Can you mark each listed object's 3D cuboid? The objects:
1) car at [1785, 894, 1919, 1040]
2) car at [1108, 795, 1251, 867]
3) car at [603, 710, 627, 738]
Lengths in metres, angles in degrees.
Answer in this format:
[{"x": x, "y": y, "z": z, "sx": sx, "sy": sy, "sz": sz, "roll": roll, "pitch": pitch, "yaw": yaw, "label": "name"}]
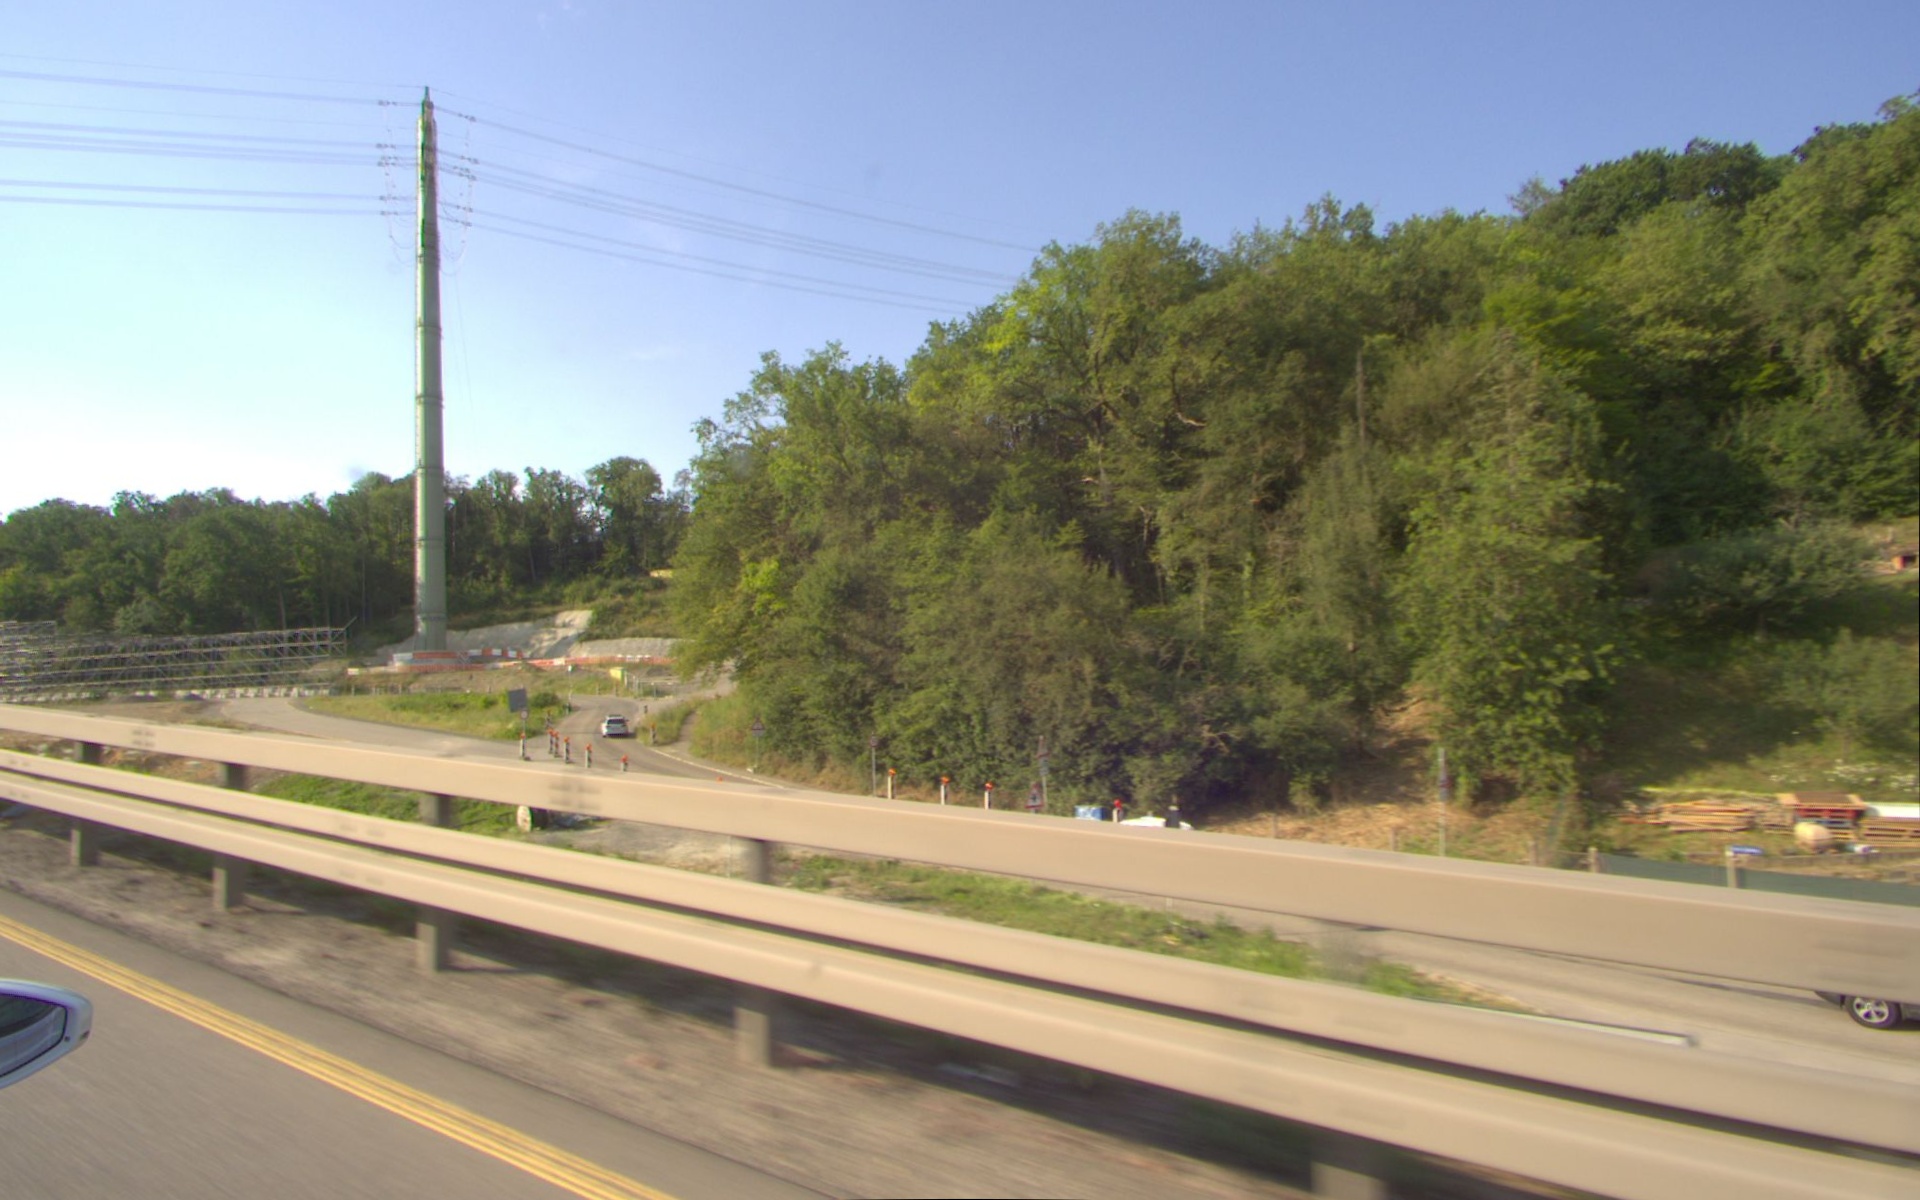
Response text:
[{"x": 17.603, "y": 6.730, "z": 17.712, "sx": 1.849, "sy": 1.808, "sz": 4.456, "roll": 1, "pitch": -1, "yaw": -43, "label": "car"}, {"x": 7.243, "y": 7.608, "z": 33.291, "sx": 4.423, "sy": 1.682, "sz": 1.660, "roll": -3, "pitch": -5, "yaw": 43, "label": "car"}, {"x": -24.738, "y": 8.874, "z": 71.869, "sx": 1.504, "sy": 1.479, "sz": 4.260, "roll": -1, "pitch": -1, "yaw": -18, "label": "car"}]
